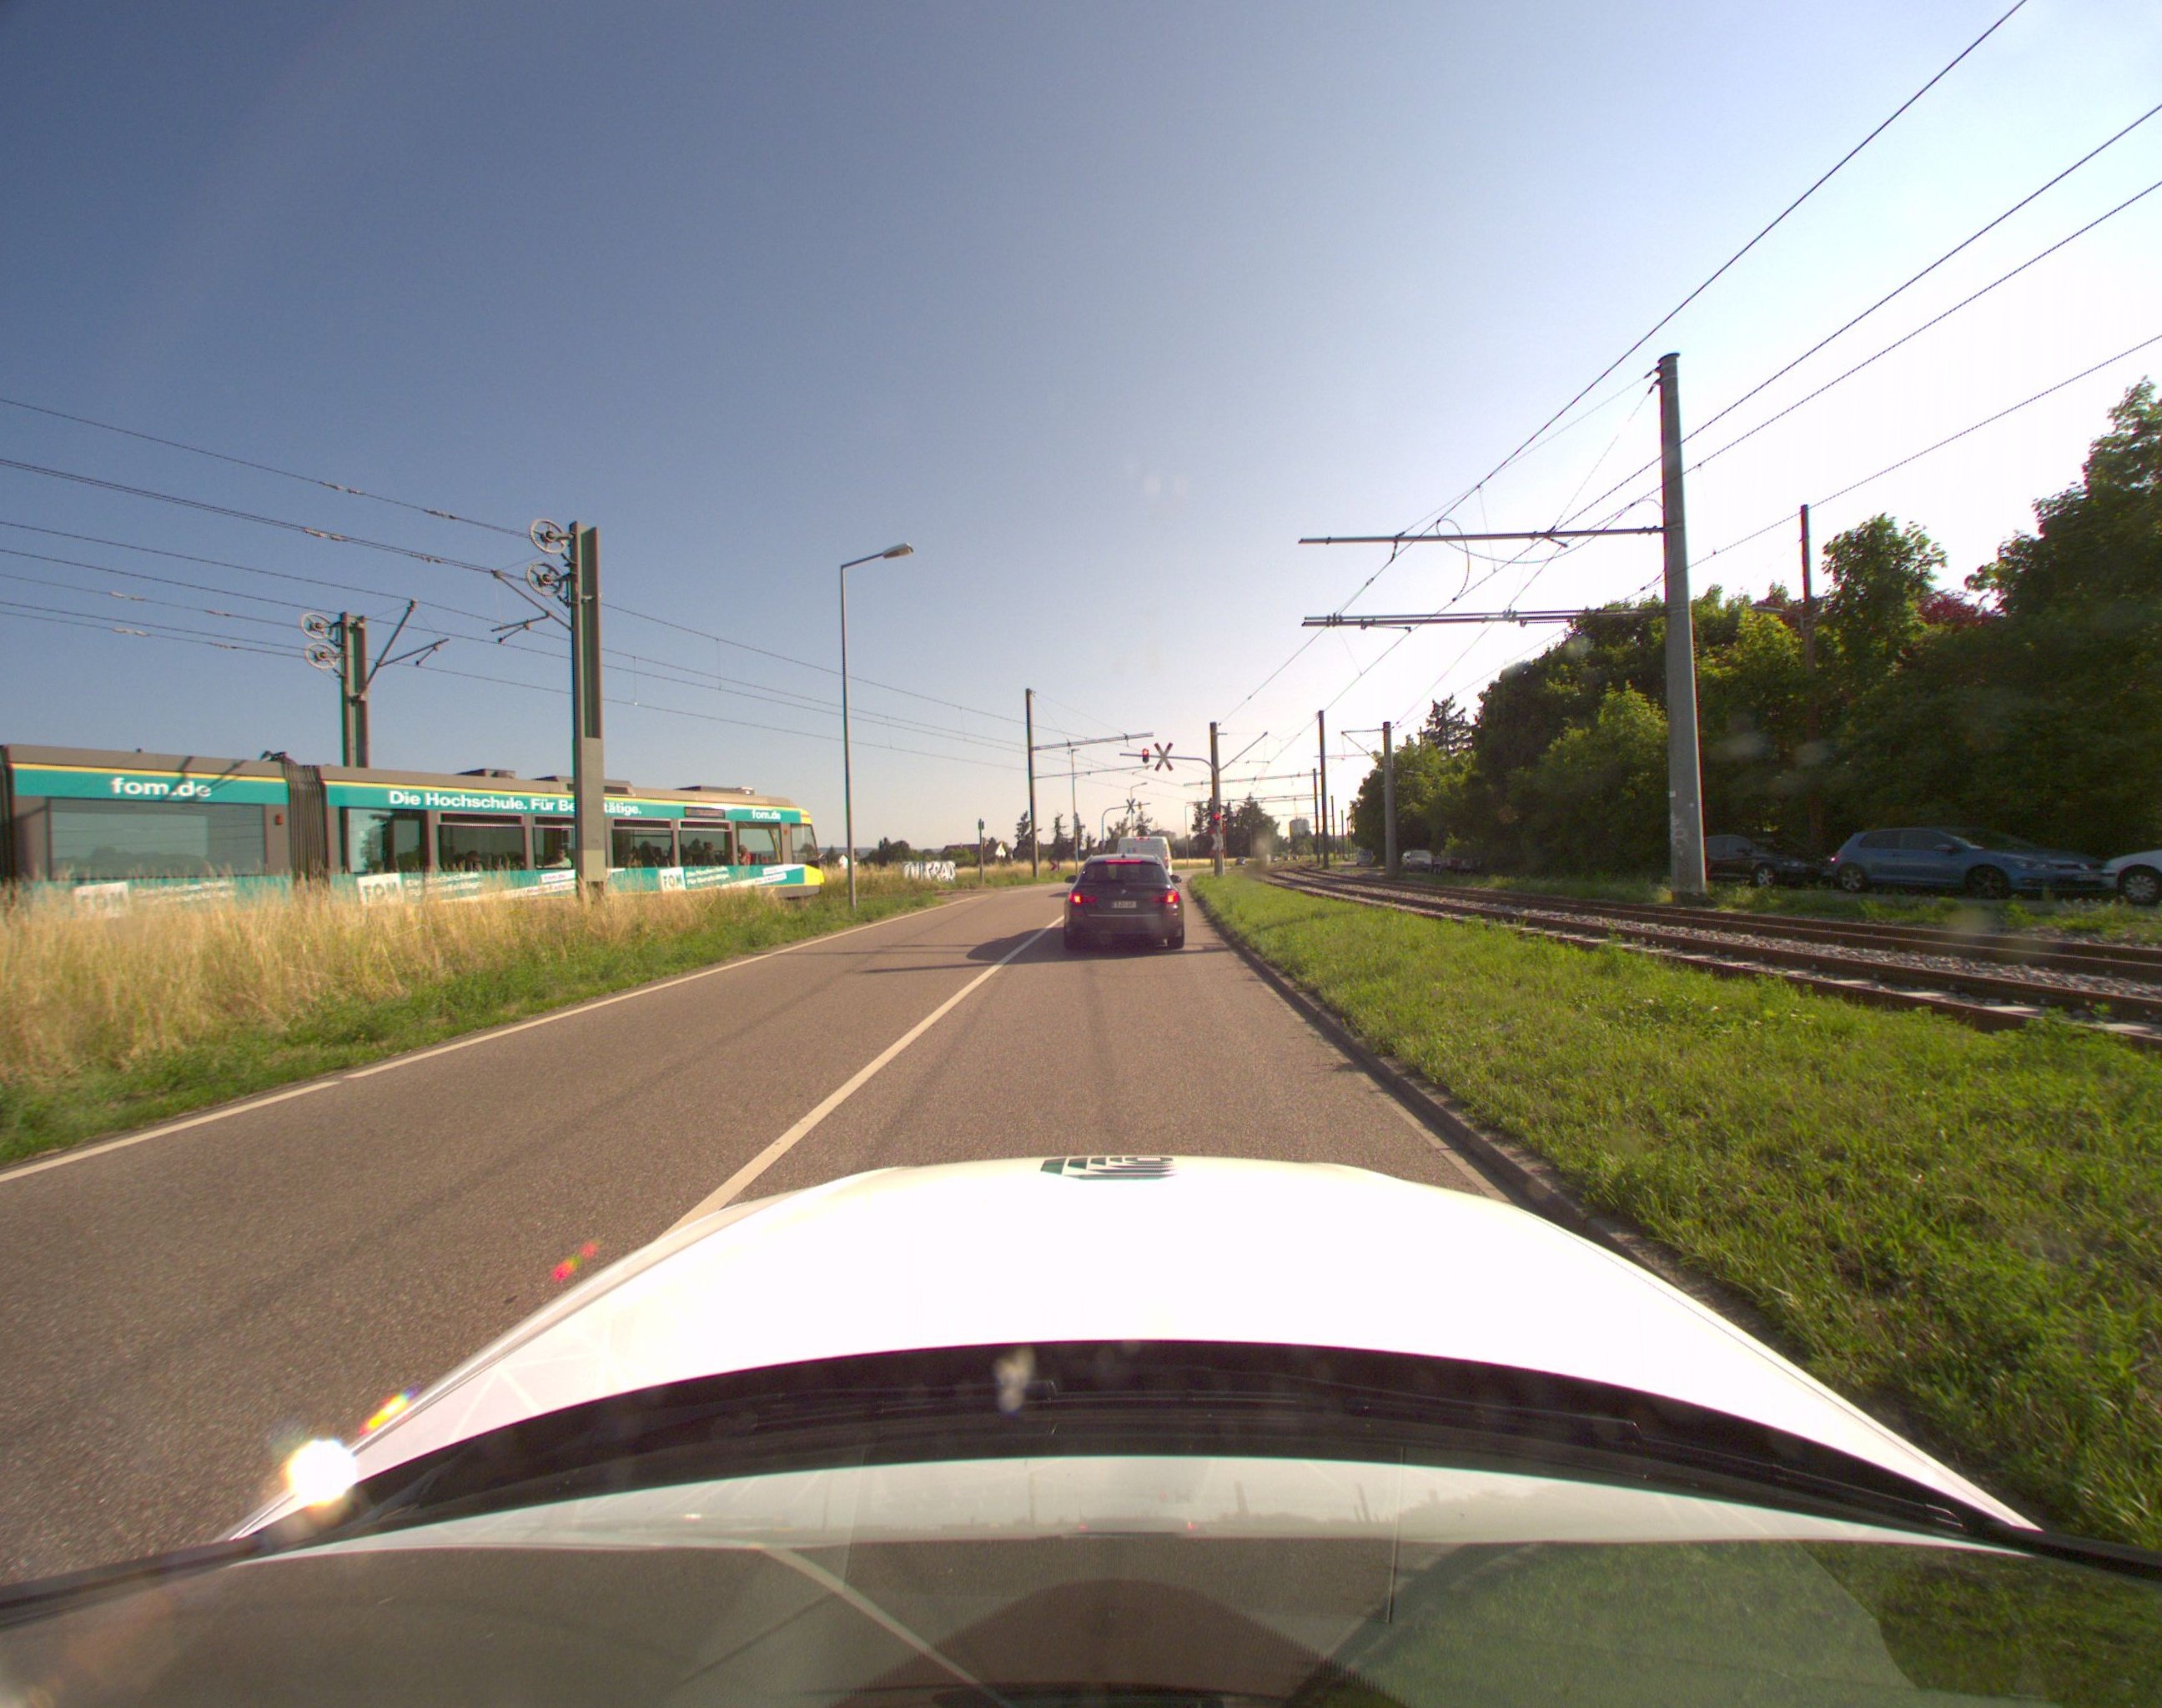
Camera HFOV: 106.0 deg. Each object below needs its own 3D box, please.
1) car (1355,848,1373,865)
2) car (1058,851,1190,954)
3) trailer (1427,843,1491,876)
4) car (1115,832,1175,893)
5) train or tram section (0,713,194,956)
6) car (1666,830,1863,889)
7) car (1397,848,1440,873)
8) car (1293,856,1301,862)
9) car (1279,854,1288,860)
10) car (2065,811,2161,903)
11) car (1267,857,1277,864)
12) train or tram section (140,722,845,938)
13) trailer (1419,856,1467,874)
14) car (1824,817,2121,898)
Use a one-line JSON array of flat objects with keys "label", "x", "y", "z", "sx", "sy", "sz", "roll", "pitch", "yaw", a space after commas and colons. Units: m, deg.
[{"label": "car", "x": 34.410, "y": 0.343, "z": 99.009, "sx": 1.977, "sy": 2.004, "sz": 5.091, "roll": 1, "pitch": 0, "yaw": 19}, {"label": "car", "x": 0.733, "y": 0.685, "z": 14.030, "sx": 1.861, "sy": 1.452, "sz": 4.747, "roll": -1, "pitch": 0, "yaw": 3}, {"label": "trailer", "x": 19.851, "y": 0.287, "z": 42.972, "sx": 2.014, "sy": 1.596, "sz": 4.271, "roll": 1, "pitch": 0, "yaw": 10}, {"label": "car", "x": 2.433, "y": 0.298, "z": 29.819, "sx": 1.847, "sy": 1.988, "sz": 5.119, "roll": -1, "pitch": 0, "yaw": 8}, {"label": "train or tram section", "x": -18.716, "y": -0.305, "z": 8.615, "sx": 2.889, "sy": 3.454, "sz": 12.239, "roll": -1, "pitch": -1, "yaw": 29}, {"label": "car", "x": 18.106, "y": 0.157, "z": 21.894, "sx": 1.616, "sy": 1.410, "sz": 4.523, "roll": 0, "pitch": 0, "yaw": 2}, {"label": "car", "x": 21.349, "y": 0.371, "z": 51.677, "sx": 1.687, "sy": 1.456, "sz": 4.898, "roll": 1, "pitch": 0, "yaw": 13}, {"label": "car", "x": 60.658, "y": 1.324, "z": 229.041, "sx": 1.698, "sy": 1.549, "sz": 3.948, "roll": -2, "pitch": 0, "yaw": 21}, {"label": "car", "x": 52.267, "y": 0.801, "z": 210.306, "sx": 1.692, "sy": 1.665, "sz": 4.612, "roll": -1, "pitch": 0, "yaw": 19}, {"label": "car", "x": 17.967, "y": 0.016, "z": 12.031, "sx": 1.701, "sy": 1.465, "sz": 4.395, "roll": -2, "pitch": 0, "yaw": 4}, {"label": "car", "x": 42.583, "y": 1.448, "z": 181.592, "sx": 1.679, "sy": 1.439, "sz": 4.304, "roll": -1, "pitch": 0, "yaw": 19}, {"label": "train or tram section", "x": -12.259, "y": -0.197, "z": 20.356, "sx": 2.879, "sy": 3.569, "sz": 14.346, "roll": -1, "pitch": -2, "yaw": 29}, {"label": "trailer", "x": 20.790, "y": 0.605, "z": 46.923, "sx": 1.720, "sy": 0.939, "sz": 3.739, "roll": 1, "pitch": 0, "yaw": 10}, {"label": "car", "x": 17.914, "y": 0.074, "z": 16.705, "sx": 1.480, "sy": 1.401, "sz": 4.148, "roll": -2, "pitch": -1, "yaw": -1}]
